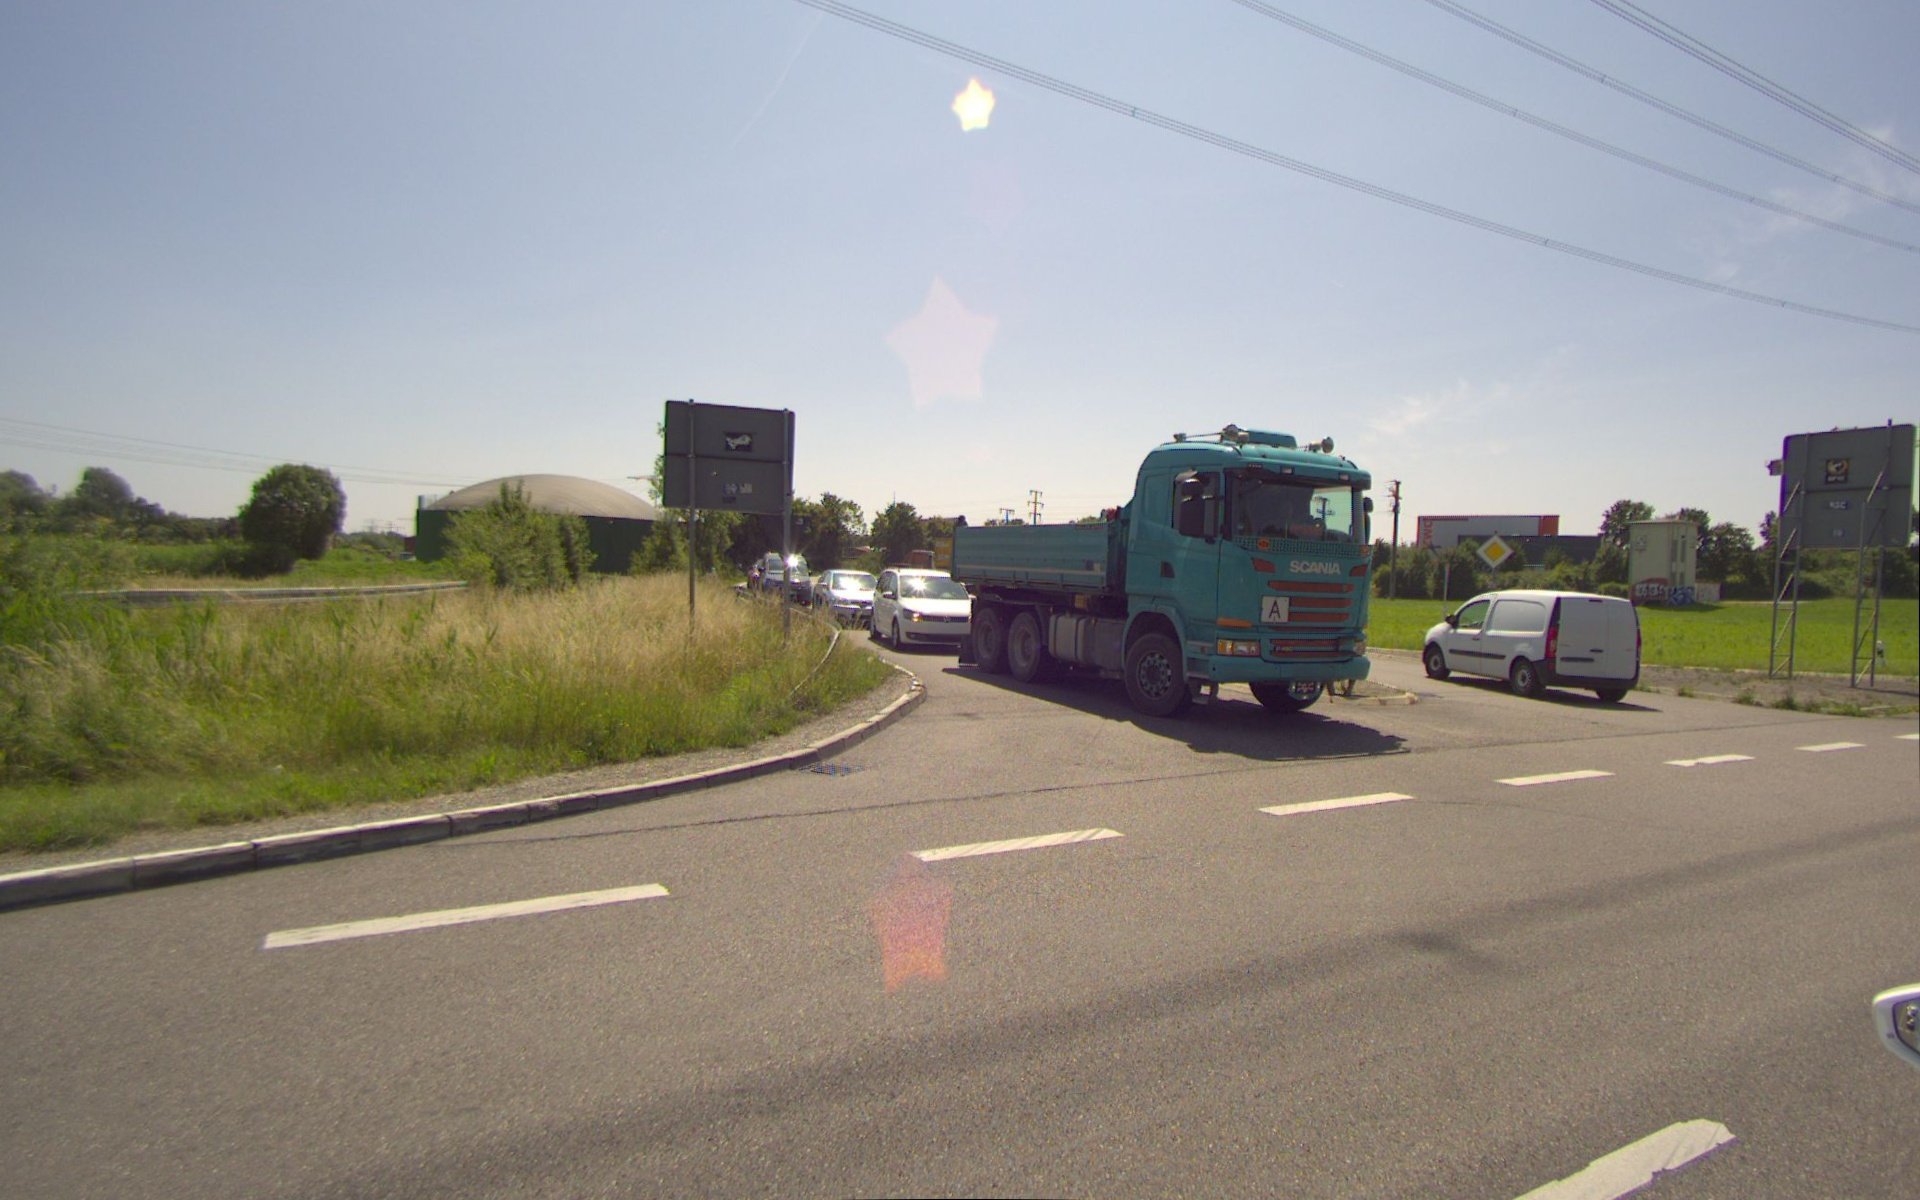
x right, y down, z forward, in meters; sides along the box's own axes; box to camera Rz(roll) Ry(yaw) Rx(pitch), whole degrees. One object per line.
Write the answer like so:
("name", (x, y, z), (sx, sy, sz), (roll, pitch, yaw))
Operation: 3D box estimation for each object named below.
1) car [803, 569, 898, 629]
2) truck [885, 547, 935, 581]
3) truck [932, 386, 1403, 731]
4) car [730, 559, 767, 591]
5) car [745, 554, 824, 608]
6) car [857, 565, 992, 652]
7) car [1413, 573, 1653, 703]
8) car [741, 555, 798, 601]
("car", (-3.090, -0.084, 27.494), (1.691, 1.490, 4.428), (1, 1, -18))
("truck", (-5.211, -3.722, 106.250), (2.772, 3.332, 9.705), (1, 1, 13))
("truck", (2.404, -0.614, 15.087), (2.466, 3.785, 7.875), (1, 2, -26))
("car", (-11.859, -1.386, 56.452), (1.965, 1.691, 3.991), (1, 0, -11))
("car", (-6.676, -0.746, 37.724), (2.057, 1.893, 4.928), (0, 2, -21))
("car", (-0.903, 0.103, 21.692), (1.935, 1.634, 4.541), (1, 2, -15))
("car", (10.147, 0.568, 18.196), (1.798, 1.997, 3.997), (1, 3, -4))
("car", (-8.439, -0.998, 44.225), (1.886, 1.874, 4.464), (1, 2, -18))
